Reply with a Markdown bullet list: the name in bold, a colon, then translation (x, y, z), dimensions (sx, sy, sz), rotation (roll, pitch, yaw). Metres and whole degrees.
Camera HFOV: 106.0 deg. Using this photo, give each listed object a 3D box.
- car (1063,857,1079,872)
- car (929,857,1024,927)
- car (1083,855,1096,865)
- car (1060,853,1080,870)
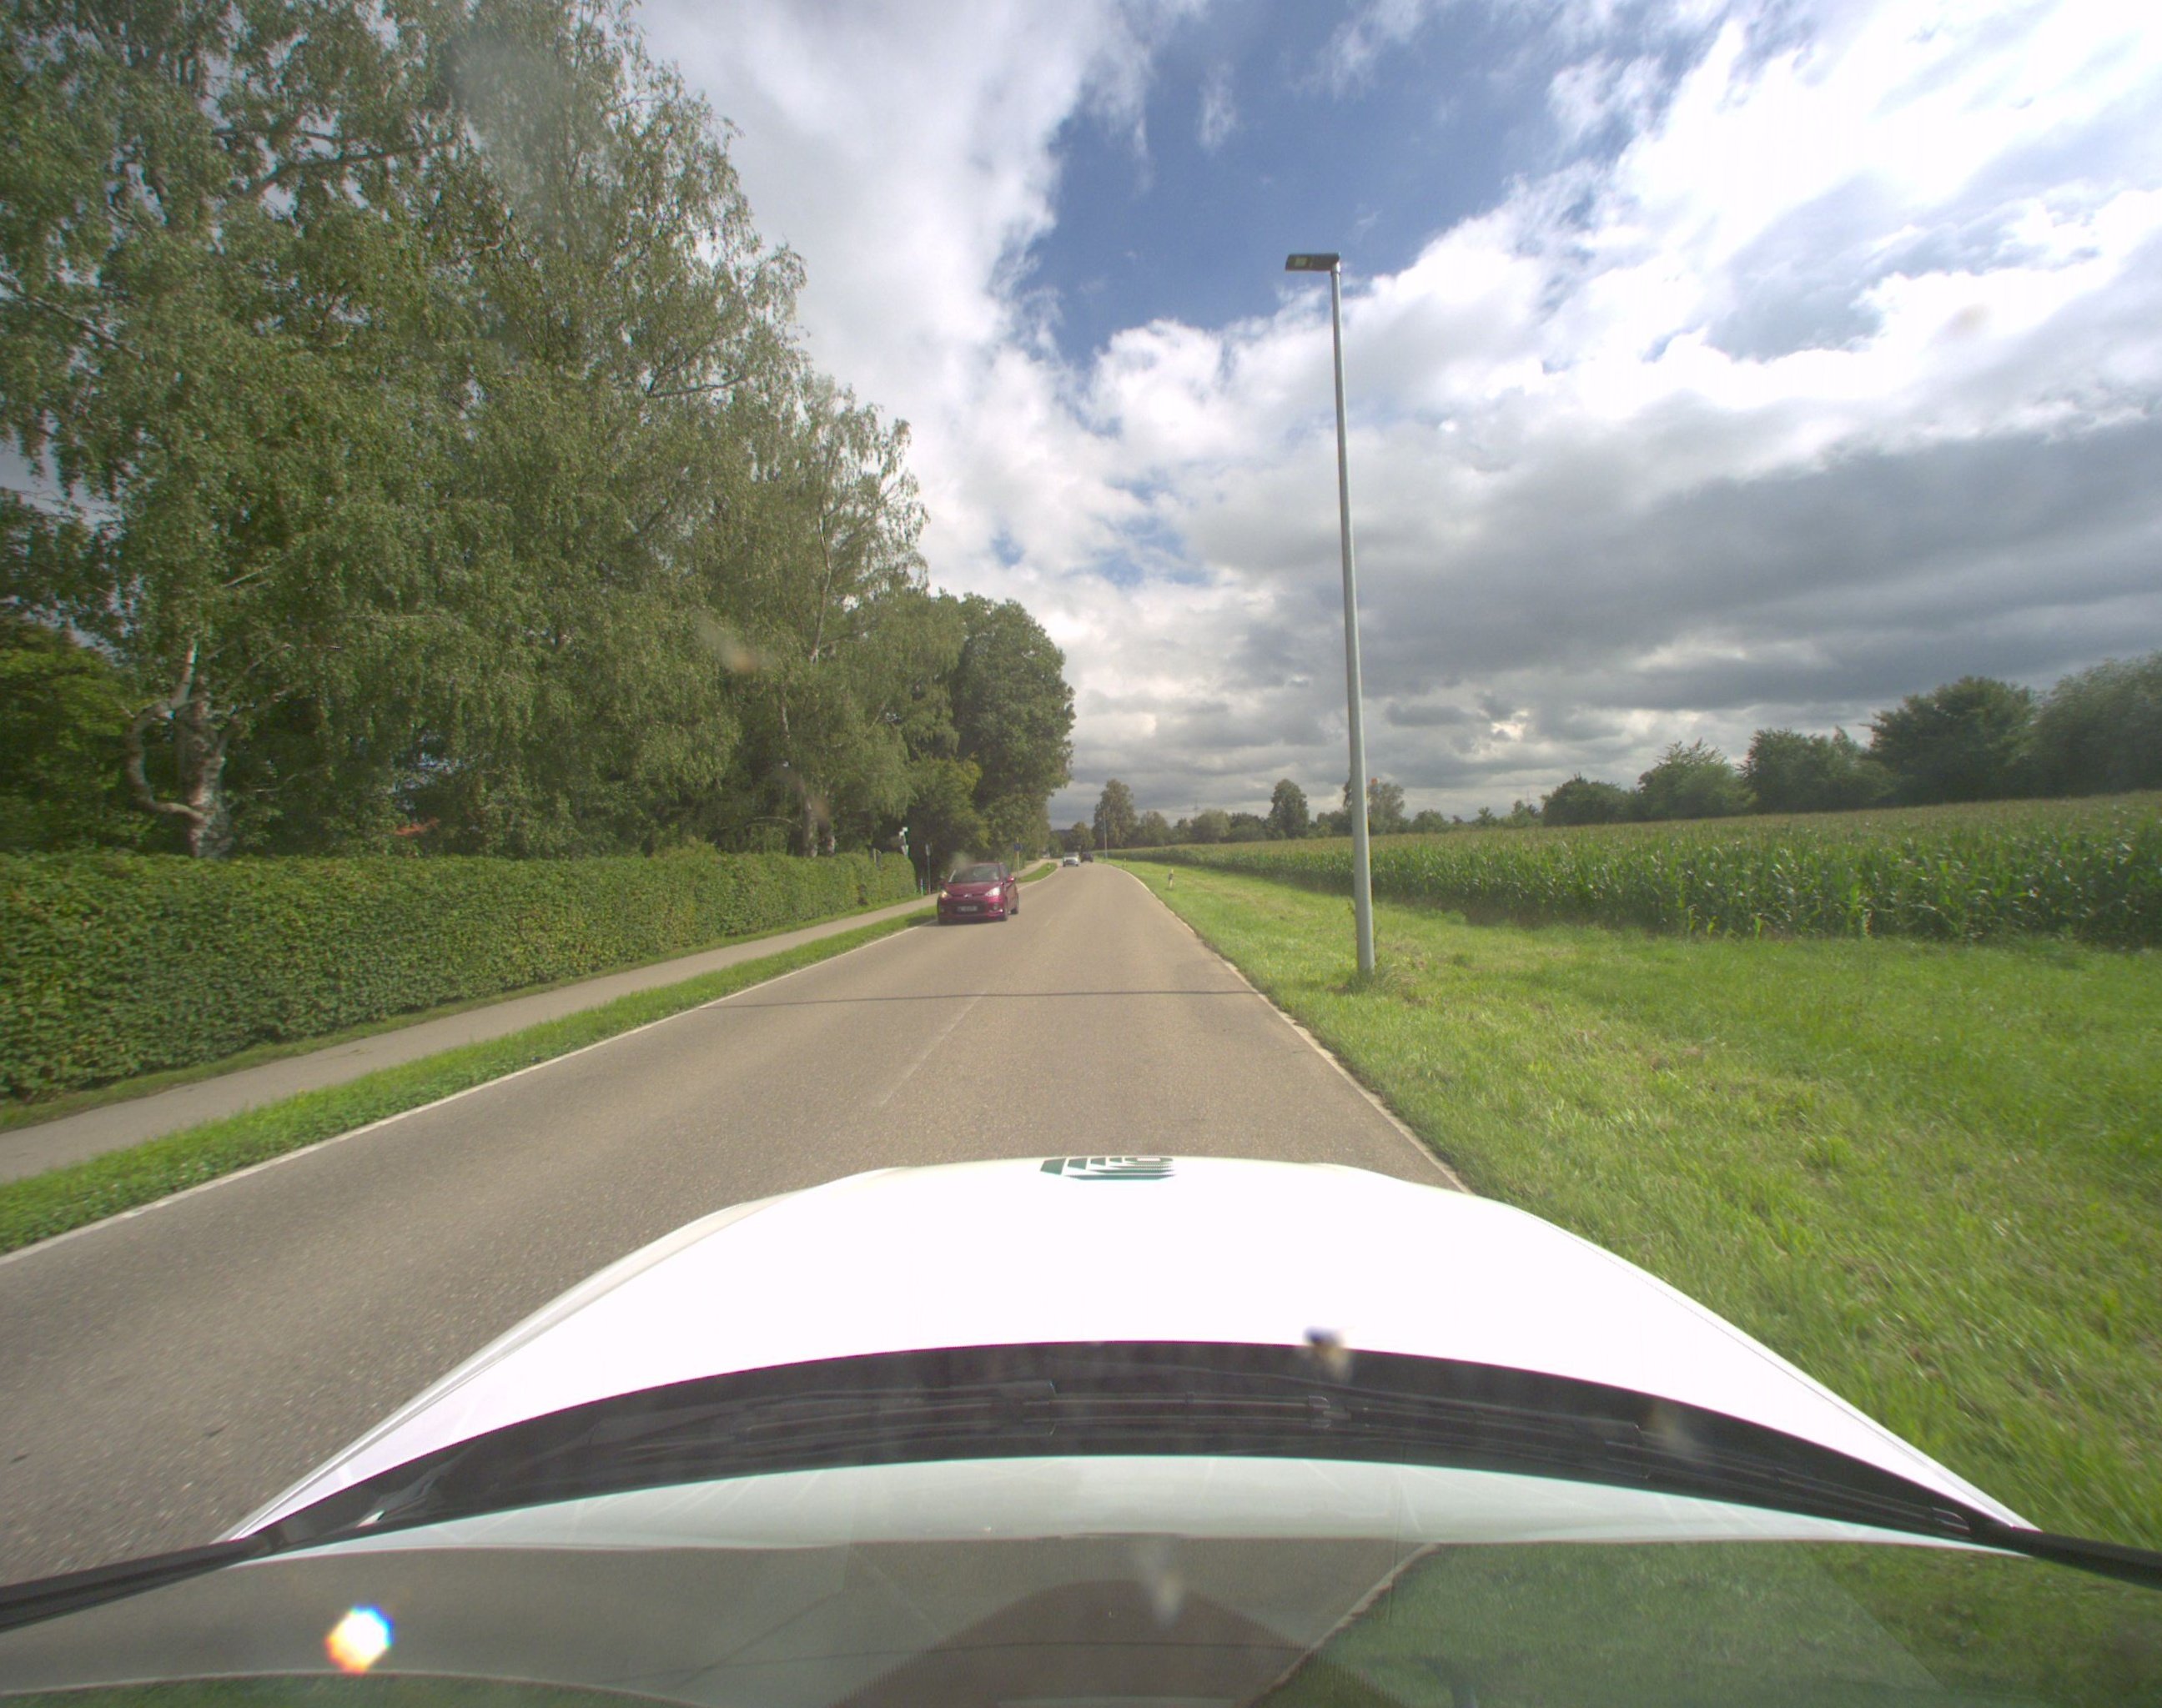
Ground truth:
- **car**: translation (-1.245, 1.299, 99.846), dimensions (1.805, 1.650, 4.291), rotation (-4, 0, 0)
- **car**: translation (-2.558, 0.884, 20.825), dimensions (1.734, 1.471, 4.001), rotation (-4, 0, 1)
- **car**: translation (1.364, 1.006, 132.353), dimensions (1.986, 1.585, 4.002), rotation (0, -1, 2)
- **car**: translation (-1.265, 0.956, 99.495), dimensions (1.984, 2.014, 4.006), rotation (0, -1, 6)
